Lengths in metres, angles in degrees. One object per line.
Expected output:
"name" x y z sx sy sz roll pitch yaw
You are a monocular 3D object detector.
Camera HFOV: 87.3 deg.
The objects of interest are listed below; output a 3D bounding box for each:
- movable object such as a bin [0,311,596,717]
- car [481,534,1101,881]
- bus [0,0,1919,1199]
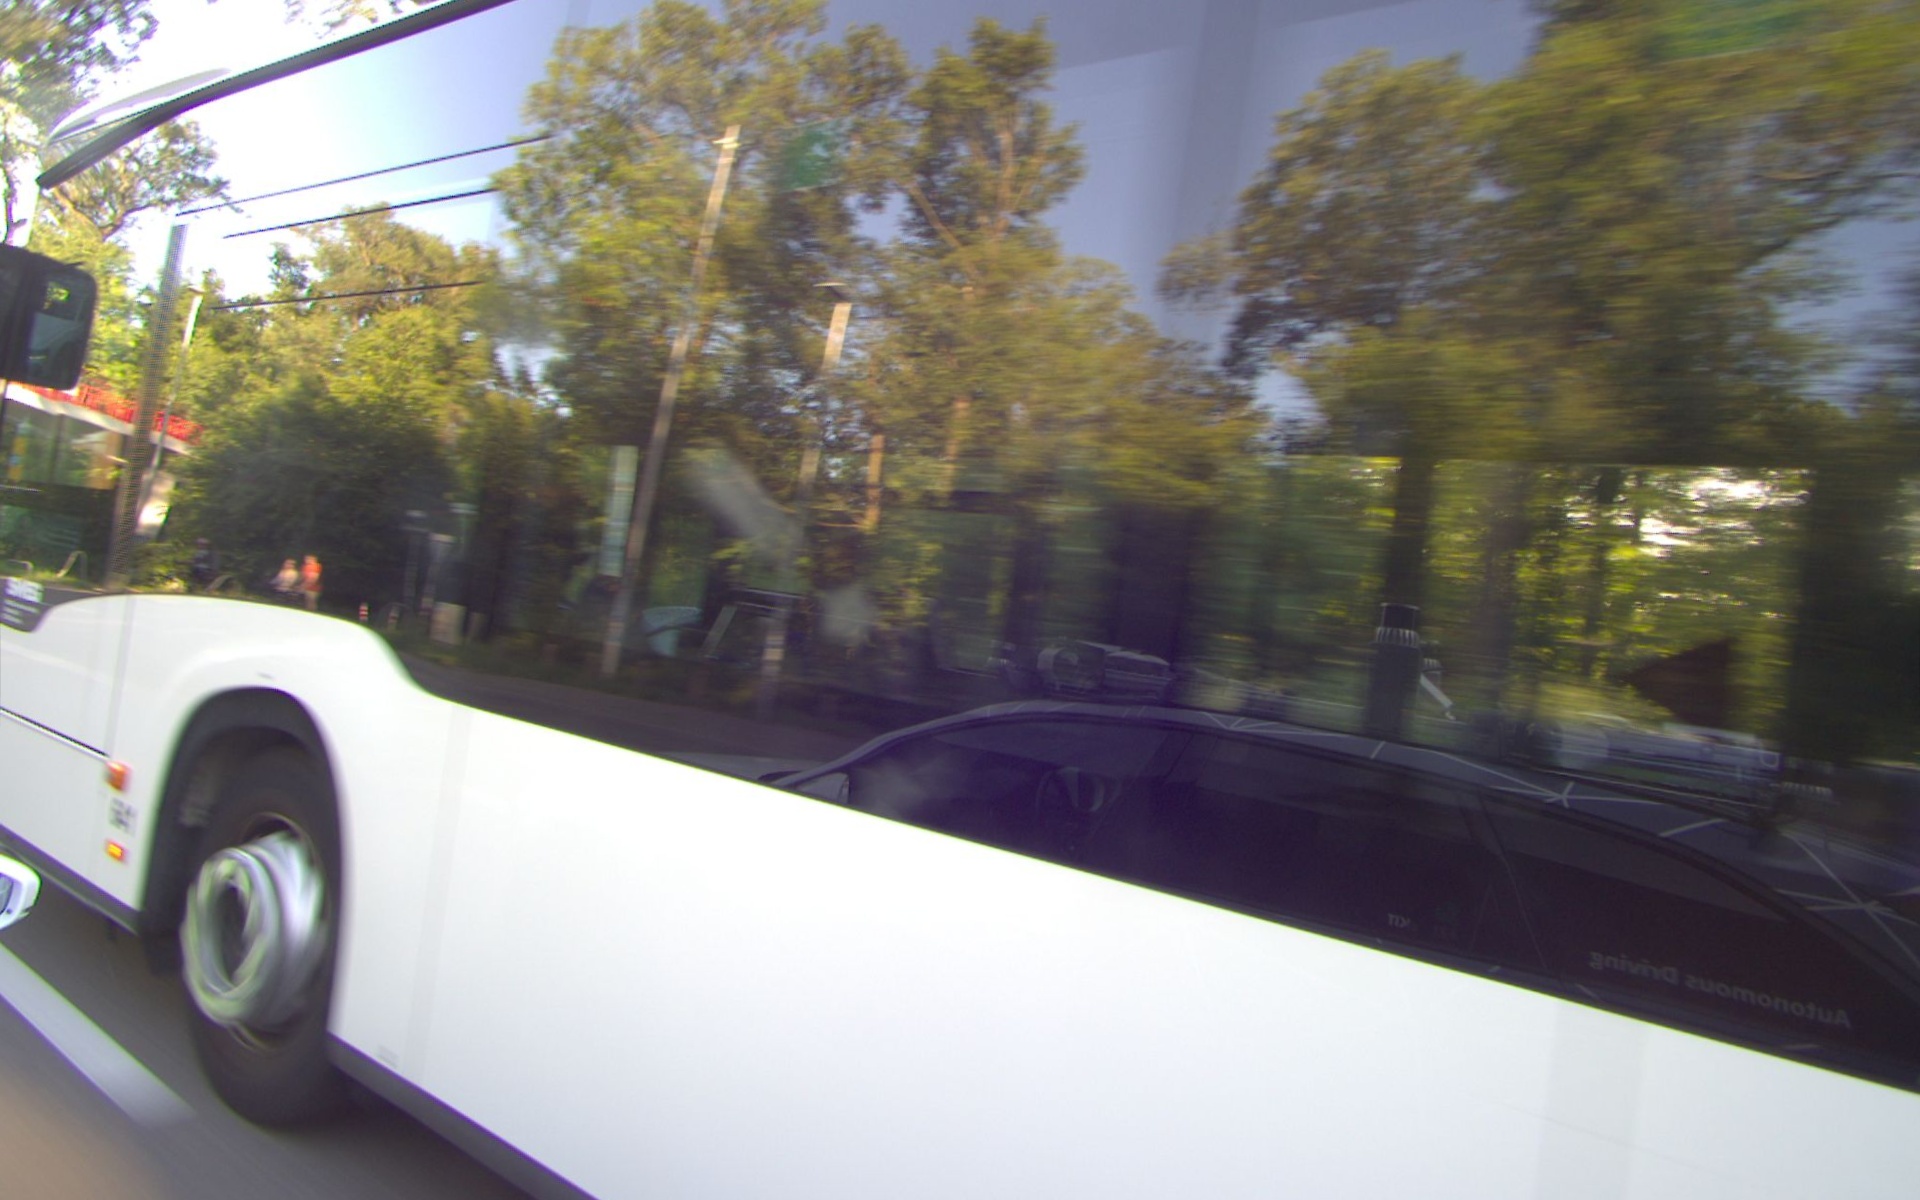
"movable object such as a bin" -8.013 -1.013 11.430 7.469 3.412 2.764 7 0 29
"car" -1.275 0.580 7.136 4.020 1.593 1.731 7 -1 30
"bus" 1.446 0.090 2.054 12.072 3.260 2.709 7 -1 31
